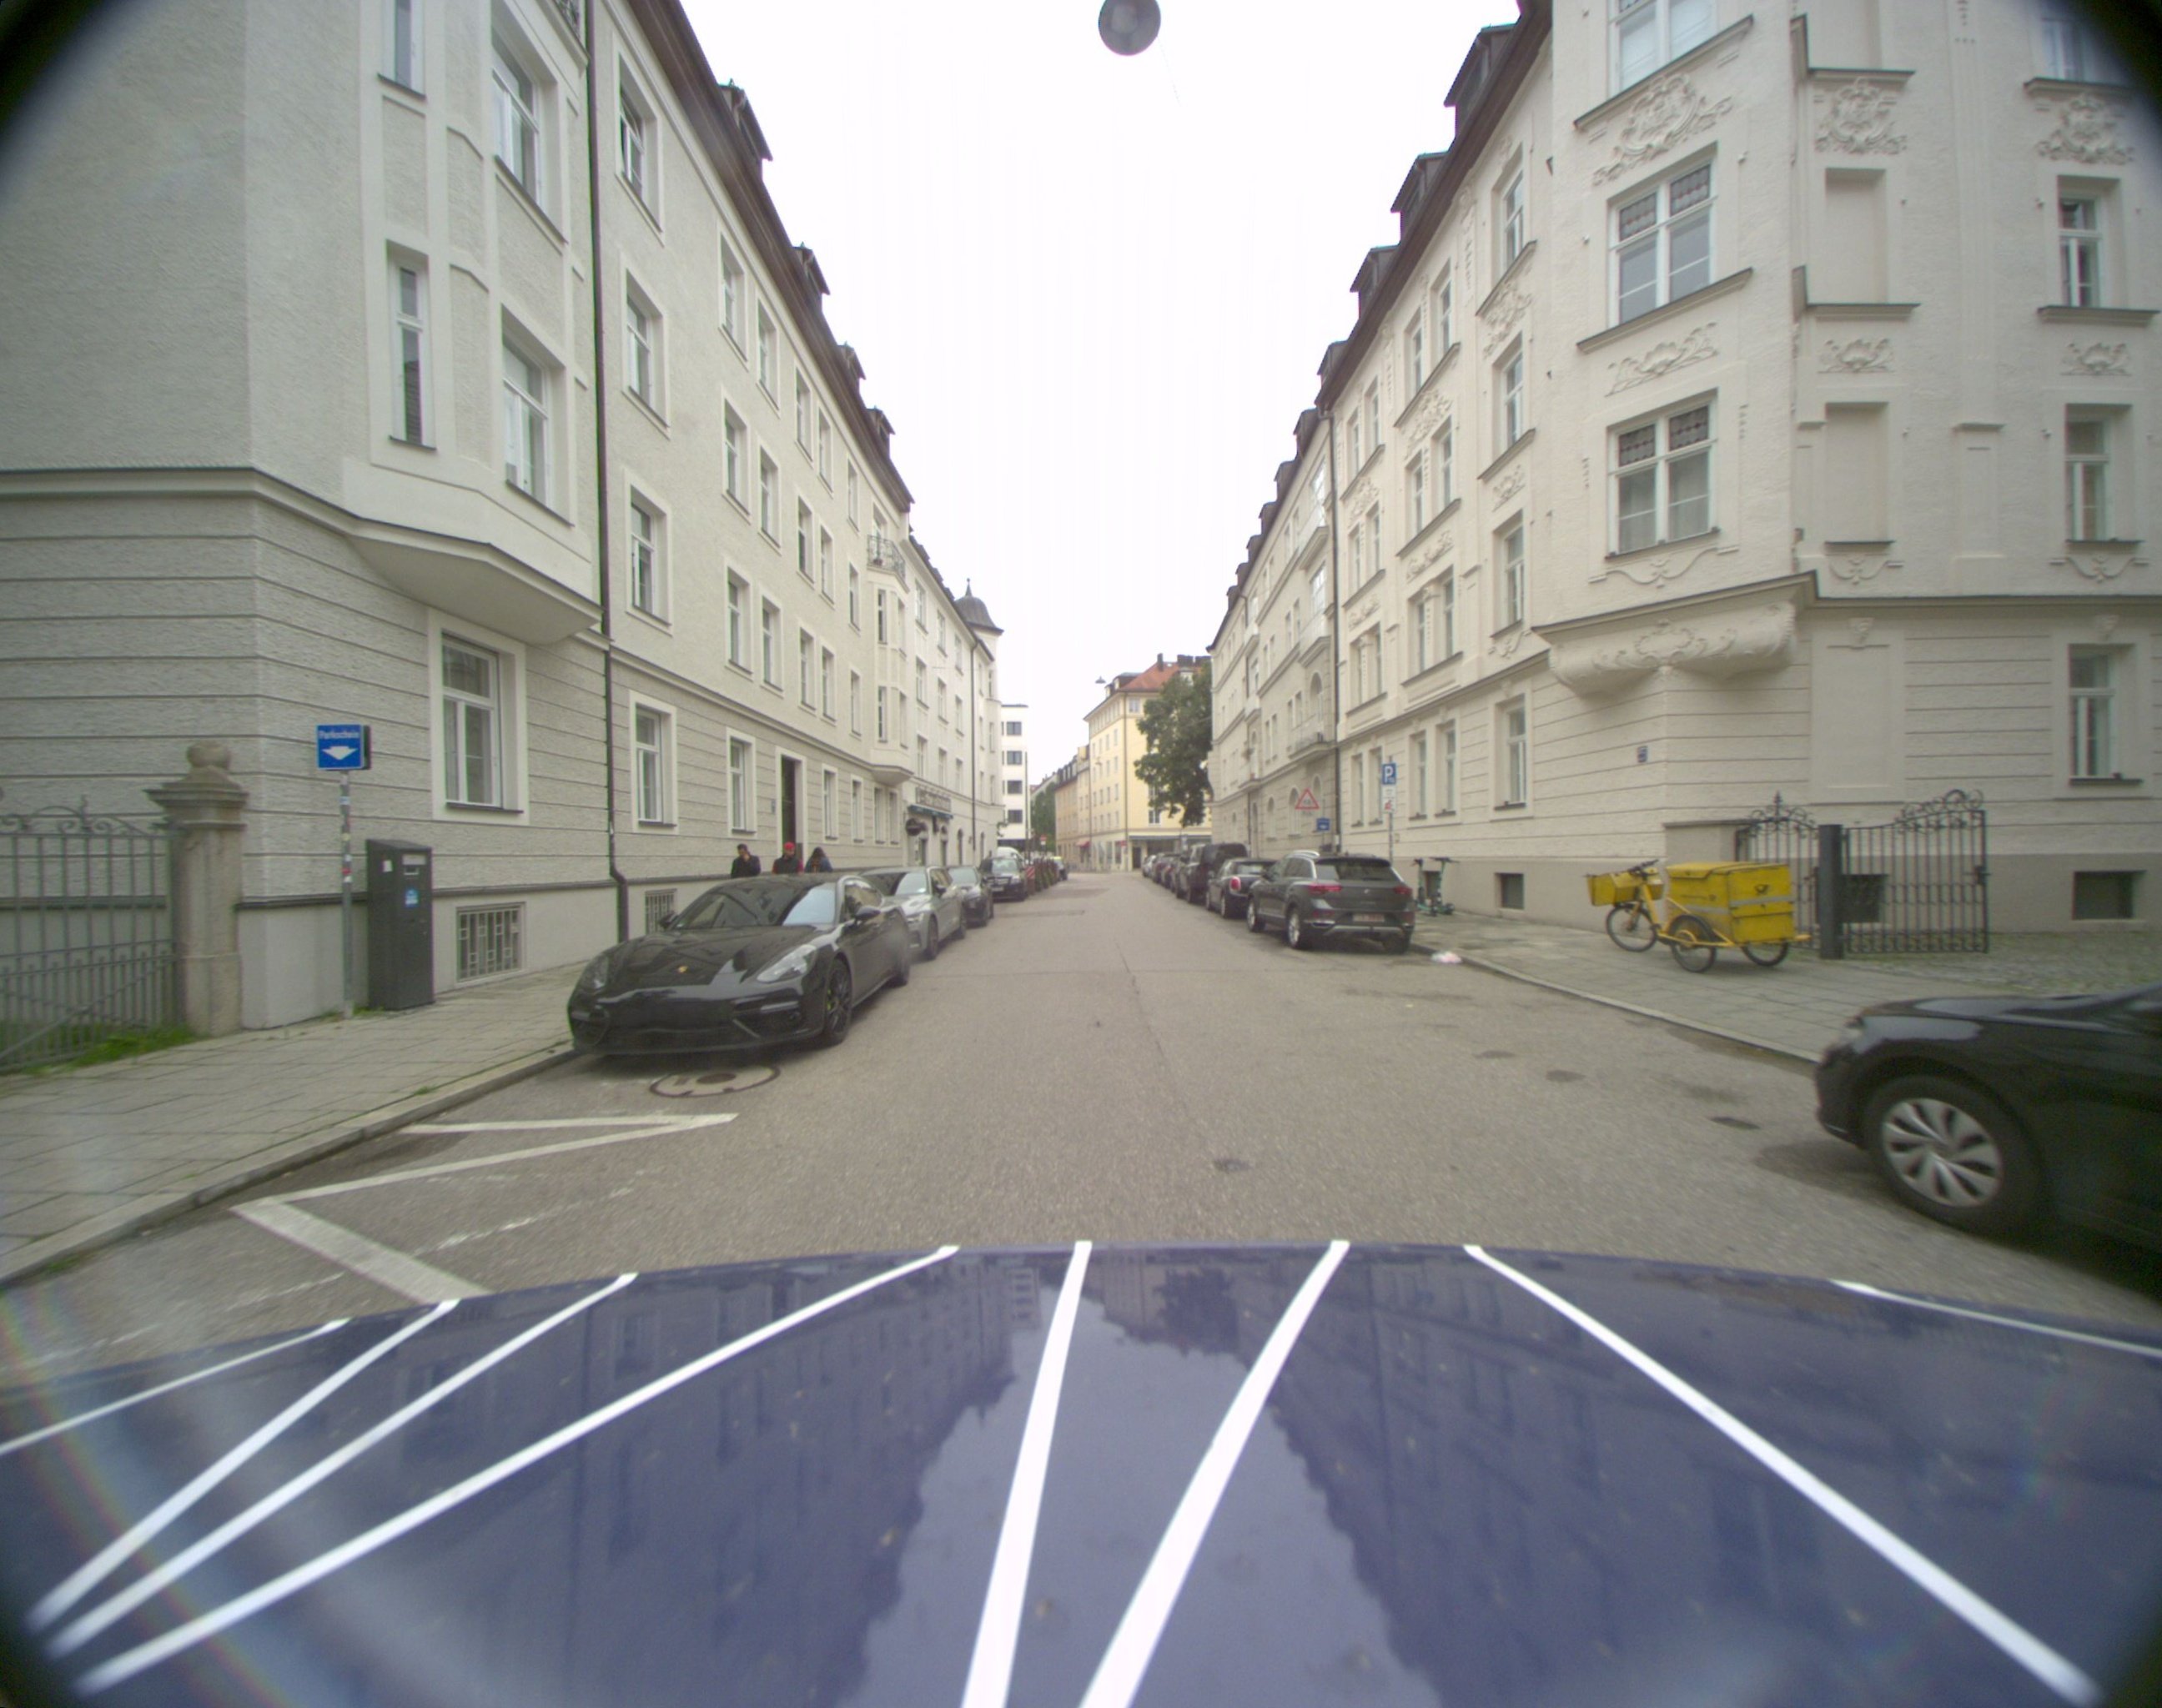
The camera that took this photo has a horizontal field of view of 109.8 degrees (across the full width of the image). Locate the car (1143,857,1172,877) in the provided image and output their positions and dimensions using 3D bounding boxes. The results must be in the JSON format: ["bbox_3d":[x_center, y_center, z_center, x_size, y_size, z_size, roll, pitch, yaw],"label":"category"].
[{"bbox_3d":[5.649,0.919,56.384,1.685,1.385,4.479,0,0,-1],"label":"car"}]

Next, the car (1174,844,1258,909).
[{"bbox_3d":[4.224,0.669,24.507,1.841,1.883,4.763,1,0,0],"label":"car"}]

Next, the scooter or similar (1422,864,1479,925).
[{"bbox_3d":[7.998,0.853,16.496,0.495,1.215,1.548,-1,0,1],"label":"scooter or similar"}]

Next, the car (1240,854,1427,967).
[{"bbox_3d":[4.104,0.822,13.113,1.731,1.609,4.120,1,0,-2],"label":"car"}]

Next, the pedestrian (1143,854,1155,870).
[{"bbox_3d":[6.940,0.805,77.374,0.920,1.601,0.777,-1,0,31],"label":"pedestrian"}]

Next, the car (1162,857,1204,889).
[{"bbox_3d":[4.745,0.849,35.833,1.658,1.399,4.092,0,0,3],"label":"car"}]

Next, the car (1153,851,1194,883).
[{"bbox_3d":[4.950,0.663,41.095,1.880,1.590,4.434,-1,0,3],"label":"car"}]

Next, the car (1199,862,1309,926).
[{"bbox_3d":[4.196,0.914,19.065,1.841,1.386,4.245,1,0,1],"label":"car"}]

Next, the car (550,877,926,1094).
[{"bbox_3d":[-3.067,1.065,8.109,1.999,1.449,4.711,-1,0,-2],"label":"car"}]

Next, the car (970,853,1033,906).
[{"bbox_3d":[-2.833,0.868,27.883,1.805,1.665,4.188,-3,0,-1],"label":"car"}]

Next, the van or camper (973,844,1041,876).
[{"bbox_3d":[-6.656,0.533,68.295,5.870,2.697,2.304,-1,-2,-7],"label":"van or camper"}]

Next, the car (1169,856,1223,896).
[{"bbox_3d":[4.578,0.842,30.609,1.620,1.504,3.531,0,0,0],"label":"car"}]

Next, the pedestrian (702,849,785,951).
[{"bbox_3d":[-6.177,0.817,13.961,0.884,1.776,1.112,1,0,14],"label":"pedestrian"}]

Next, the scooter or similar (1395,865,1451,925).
[{"bbox_3d":[7.396,0.859,16.502,0.533,1.193,1.548,-1,0,1],"label":"scooter or similar"}]

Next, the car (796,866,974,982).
[{"bbox_3d":[-3.086,1.030,12.951,1.765,1.477,4.420,-4,0,0],"label":"car"}]

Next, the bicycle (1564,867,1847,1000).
[{"bbox_3d":[7.368,0.848,9.264,1.154,1.235,2.716,-5,0,1],"label":"bicycle"}]

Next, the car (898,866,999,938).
[{"bbox_3d":[-3.094,1.066,18.743,1.841,1.391,4.972,-3,0,-3],"label":"car"}]

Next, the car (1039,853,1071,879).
[{"bbox_3d":[-1.721,0.820,52.107,1.841,1.609,4.095,-4,0,2],"label":"car"}]

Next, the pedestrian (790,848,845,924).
[{"bbox_3d":[-6.603,0.784,19.110,0.885,1.803,1.111,3,1,1],"label":"pedestrian"}]

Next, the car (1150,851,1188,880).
[{"bbox_3d":[5.369,0.665,46.955,1.841,1.668,4.213,-1,0,0],"label":"car"}]

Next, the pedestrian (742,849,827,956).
[{"bbox_3d":[-5.262,0.819,13.538,0.884,1.801,1.112,1,0,17],"label":"pedestrian"}]

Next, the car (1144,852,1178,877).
[{"bbox_3d":[5.393,0.699,51.786,1.699,1.559,3.949,-1,1,-3],"label":"car"}]

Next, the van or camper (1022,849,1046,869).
[{"bbox_3d":[-5.950,0.625,95.380,1.968,2.494,5.716,-1,0,-14],"label":"van or camper"}]

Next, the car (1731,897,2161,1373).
[{"bbox_3d":[4.330,0.959,1.842,1.797,1.407,4.278,1,0,0],"label":"car"}]

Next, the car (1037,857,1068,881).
[{"bbox_3d":[-1.764,0.920,48.492,1.670,1.392,3.493,-4,0,2],"label":"car"}]
